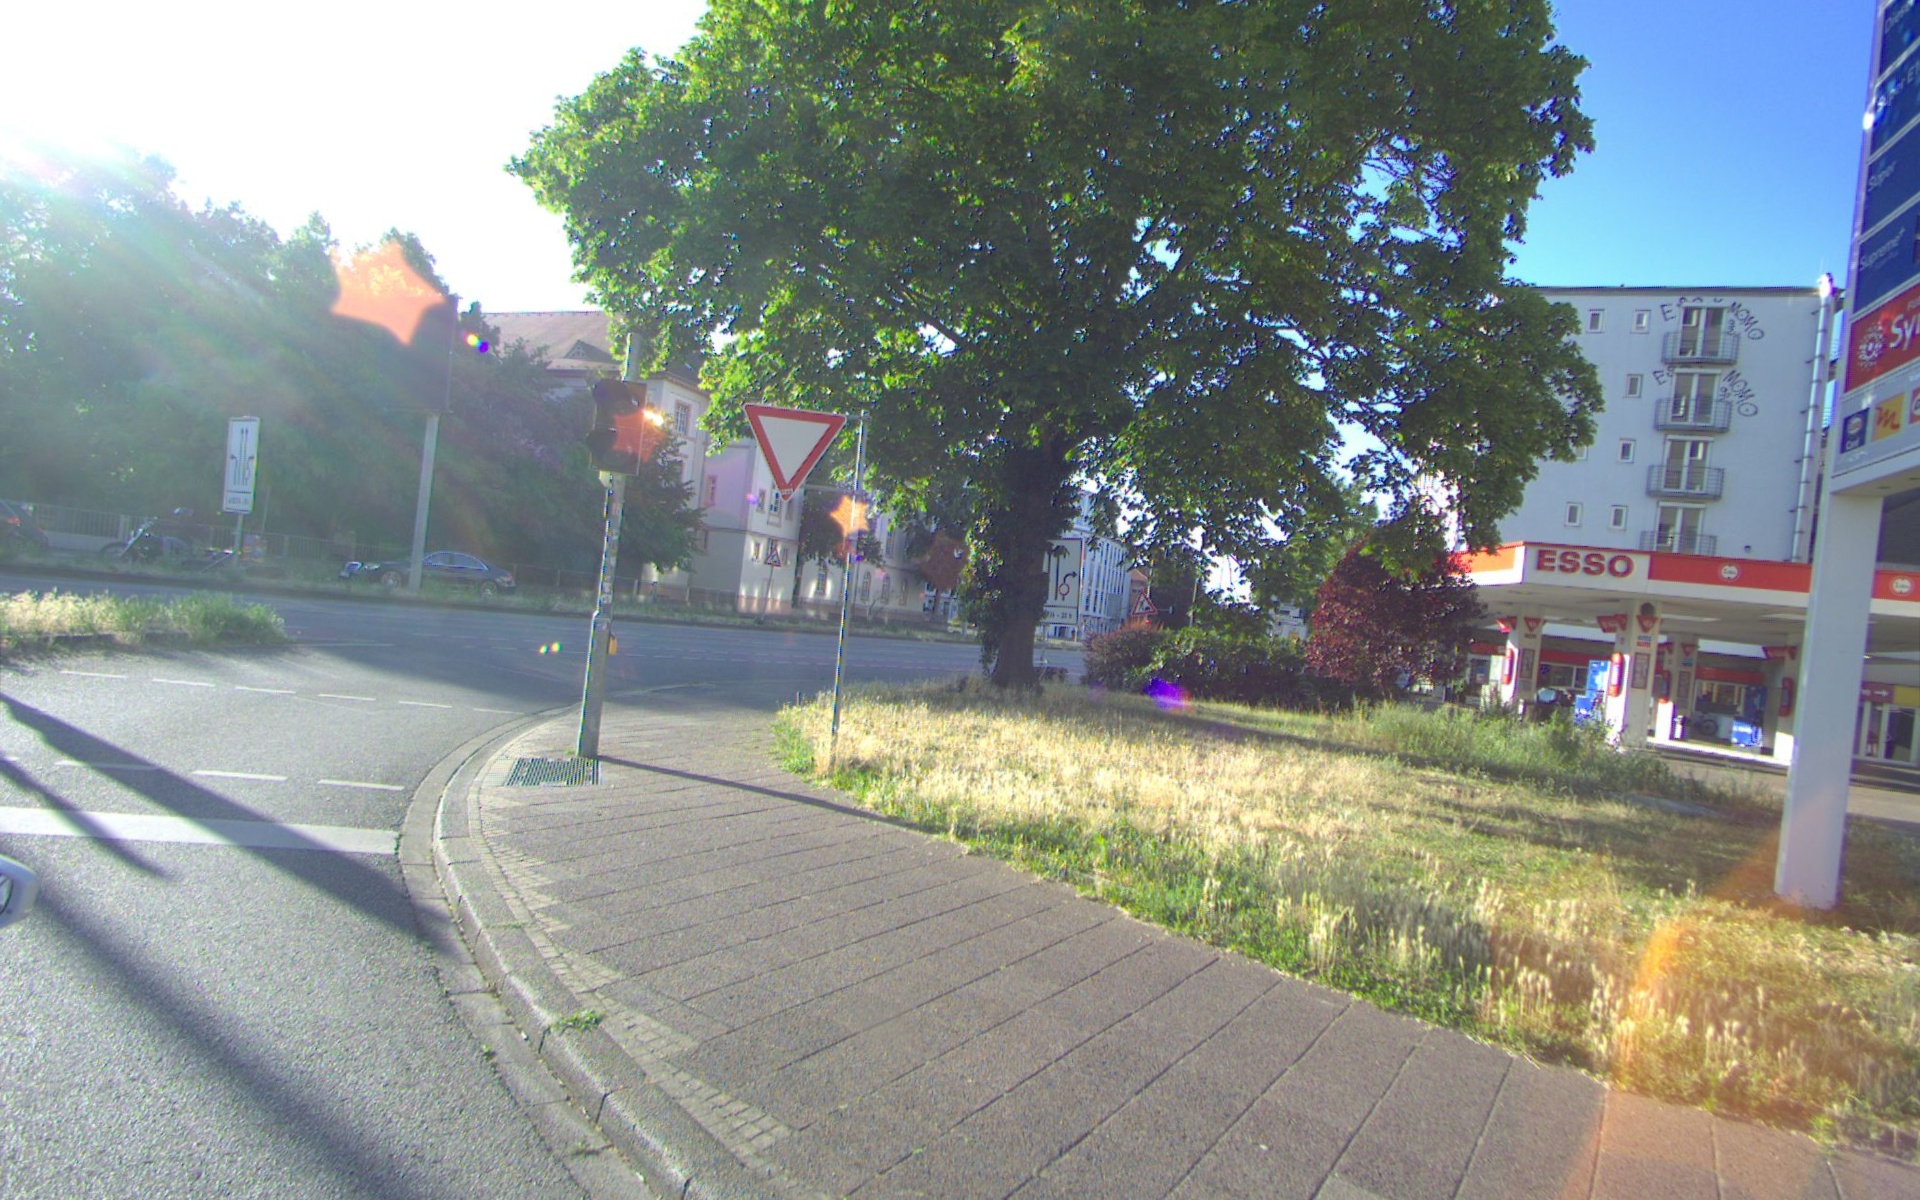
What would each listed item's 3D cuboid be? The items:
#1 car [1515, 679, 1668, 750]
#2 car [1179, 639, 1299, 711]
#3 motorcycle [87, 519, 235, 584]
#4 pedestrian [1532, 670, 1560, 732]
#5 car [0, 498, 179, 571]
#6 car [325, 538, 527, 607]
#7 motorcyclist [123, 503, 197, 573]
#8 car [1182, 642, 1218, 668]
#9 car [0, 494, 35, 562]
[{"bbox_3d":[18.204,3.249,29.263,1.962,1.371,3.999,7,1,3],"label":"car"},{"bbox_3d":[7.456,2.008,26.619,1.677,1.593,3.988,6,-1,36],"label":"car"},{"bbox_3d":[-18.212,-1.084,22.987,0.849,1.121,2.461,6,-1,38],"label":"motorcycle"},{"bbox_3d":[16.860,2.904,28.948,0.413,1.726,0.420,6,0,4],"label":"pedestrian"},{"bbox_3d":[-24.593,-1.816,28.047,1.829,1.482,3.992,7,-1,32],"label":"car"},{"bbox_3d":[-16.687,-0.811,31.782,1.967,1.514,5.281,6,-1,32],"label":"car"},{"bbox_3d":[-18.222,-1.410,22.927,0.842,1.415,1.057,6,0,39],"label":"motorcyclist"},{"bbox_3d":[17.088,3.933,71.477,1.730,1.506,3.725,5,-3,24],"label":"car"},{"bbox_3d":[-21.005,-1.684,19.424,1.699,1.312,4.360,6,-1,38],"label":"car"}]
